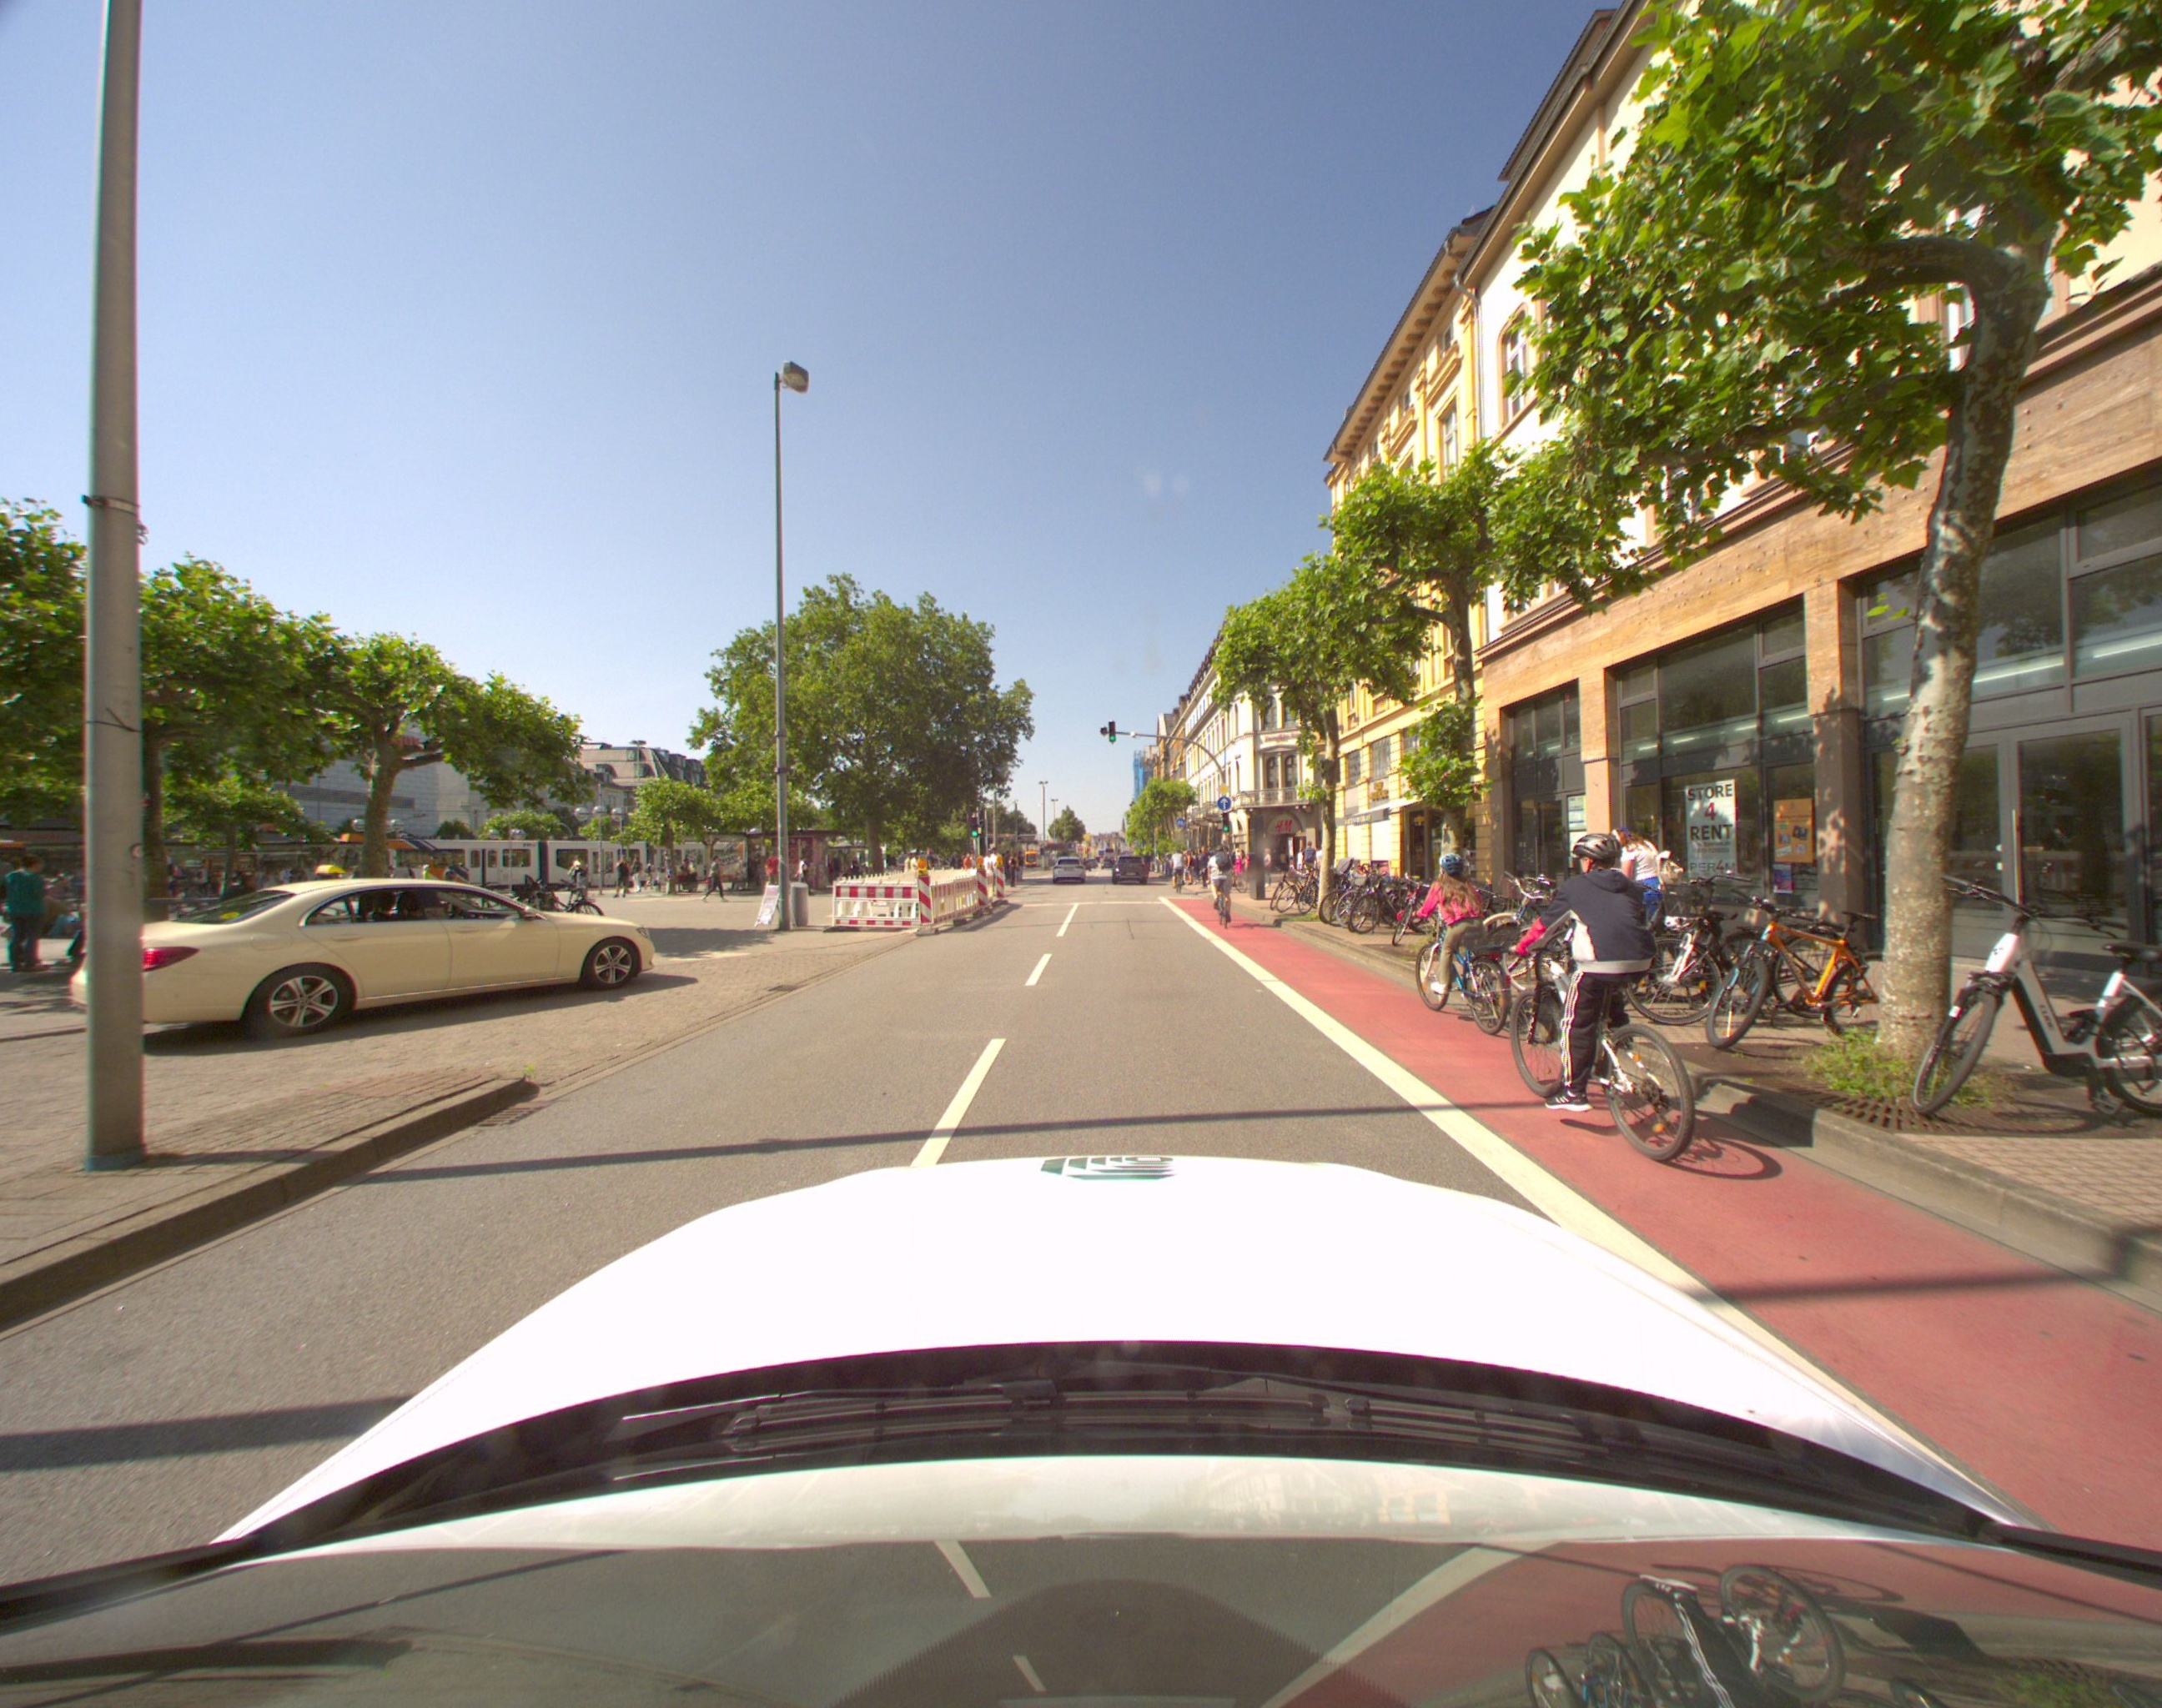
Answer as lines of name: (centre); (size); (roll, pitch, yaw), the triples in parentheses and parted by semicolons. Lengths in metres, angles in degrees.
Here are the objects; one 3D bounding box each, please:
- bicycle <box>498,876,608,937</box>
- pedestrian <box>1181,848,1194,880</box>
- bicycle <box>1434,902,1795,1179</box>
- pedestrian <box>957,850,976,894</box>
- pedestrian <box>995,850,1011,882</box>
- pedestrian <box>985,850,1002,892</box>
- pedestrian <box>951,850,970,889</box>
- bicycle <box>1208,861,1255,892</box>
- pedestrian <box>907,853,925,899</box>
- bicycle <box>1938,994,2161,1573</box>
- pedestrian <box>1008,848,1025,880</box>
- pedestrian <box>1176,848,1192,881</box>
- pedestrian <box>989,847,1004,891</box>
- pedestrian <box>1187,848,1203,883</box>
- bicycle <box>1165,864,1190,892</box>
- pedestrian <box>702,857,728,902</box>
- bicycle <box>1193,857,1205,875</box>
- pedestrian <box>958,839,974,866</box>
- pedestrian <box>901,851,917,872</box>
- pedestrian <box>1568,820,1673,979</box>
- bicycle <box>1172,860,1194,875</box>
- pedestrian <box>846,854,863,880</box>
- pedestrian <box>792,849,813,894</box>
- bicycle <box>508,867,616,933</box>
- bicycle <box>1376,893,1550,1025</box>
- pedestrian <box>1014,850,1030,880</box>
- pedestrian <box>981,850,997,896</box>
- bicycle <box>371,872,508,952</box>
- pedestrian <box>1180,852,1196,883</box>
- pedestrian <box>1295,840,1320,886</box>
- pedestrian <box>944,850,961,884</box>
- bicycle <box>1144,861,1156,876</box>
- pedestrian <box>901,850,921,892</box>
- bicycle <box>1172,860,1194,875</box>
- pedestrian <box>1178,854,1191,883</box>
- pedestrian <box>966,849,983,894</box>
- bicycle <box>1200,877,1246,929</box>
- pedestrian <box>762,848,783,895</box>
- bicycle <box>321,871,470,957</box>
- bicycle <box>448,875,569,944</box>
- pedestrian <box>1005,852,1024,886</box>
bicycle: (-10.745, 1.052, 16.621); (1.777, 1.185, 0.662); (-1, 0, -2)
pedestrian: (6.165, 0.566, 47.141); (0.608, 1.824, 0.677); (-1, -1, 0)
bicycle: (2.869, 0.905, 4.724); (0.696, 1.127, 2.080); (0, 0, -2)
pedestrian: (-4.476, 0.707, 31.929); (0.543, 1.718, 0.600); (1, -1, -30)
pedestrian: (-4.583, 0.704, 47.790); (0.626, 1.859, 0.735); (-1, -1, 31)
pedestrian: (-3.738, 0.730, 34.799); (0.573, 1.758, 0.639); (-1, -1, 3)
pedestrian: (-5.799, 0.746, 39.187); (0.627, 1.859, 0.690); (-1, -1, 22)
bicycle: (5.677, 0.849, 30.823); (0.604, 1.082, 1.820); (-3, 0, -33)
pedestrian: (-6.780, 0.897, 33.466); (0.573, 1.891, 0.654); (0, -1, 3)
bicycle: (2.608, 0.928, 1.095); (0.696, 1.127, 2.080); (0, 0, -2)
pedestrian: (-3.637, 0.558, 45.965); (0.627, 1.794, 0.735); (-1, -1, 22)
pedestrian: (5.623, 0.598, 44.600); (0.608, 1.739, 0.677); (-5, -1, 0)
pedestrian: (-3.693, 0.645, 35.443); (0.529, 1.919, 0.560); (-1, -1, 3)
pedestrian: (6.027, 0.597, 43.007); (0.608, 1.759, 0.677); (-5, -1, 0)
bicycle: (3.868, 0.947, 32.806); (0.771, 1.006, 2.330); (-1, 0, 2)
pedestrian: (-12.821, 0.891, 28.533); (0.573, 1.532, 0.607); (0, -1, 7)
bicycle: (7.796, 0.795, 53.926); (0.396, 1.114, 1.433); (-2, 1, 22)
pedestrian: (-7.417, -0.085, 52.687); (0.671, 1.764, 0.771); (-1, -1, 31)
pedestrian: (-9.878, 0.434, 46.764); (0.627, 1.144, 0.669); (-1, -1, 22)
pedestrian: (5.713, 0.462, 8.662); (0.612, 1.612, 0.745); (-1, 0, 2)
bicycle: (6.998, 0.904, 55.941); (1.415, 0.980, 0.445); (-2, 0, 2)
pedestrian: (-13.078, 0.749, 46.969); (0.627, 1.478, 0.735); (-1, -1, 22)
pedestrian: (-10.972, 0.675, 32.112); (0.573, 1.739, 0.607); (0, -1, 7)
bicycle: (-11.025, 0.973, 17.351); (1.777, 1.348, 0.740); (1, 0, -2)
bicycle: (3.408, 0.881, 7.505); (0.598, 0.926, 2.087); (-1, 0, -1)
pedestrian: (-3.618, 0.676, 49.777); (0.626, 1.834, 0.735); (-1, -1, 31)
pedestrian: (-3.557, 0.733, 31.446); (0.431, 1.740, 0.600); (1, -1, -29)
bicycle: (-10.954, 0.973, 13.940); (1.777, 1.309, 0.662); (-1, 0, -2)
pedestrian: (5.473, 0.679, 41.563); (0.608, 1.515, 0.677); (-5, -1, 0)
pedestrian: (9.059, 0.376, 32.585); (0.655, 1.790, 1.233); (-1, -2, 1)
pedestrian: (-7.073, 0.712, 44.903); (0.627, 1.810, 0.735); (-1, -1, 22)
bicycle: (4.658, 0.989, 55.051); (0.645, 0.998, 2.031); (-1, 0, 1)
pedestrian: (-7.224, 0.697, 34.579); (0.581, 1.721, 0.790); (-1, 2, 3)
bicycle: (6.815, 0.903, 54.535); (1.415, 0.980, 0.445); (-2, 0, 2)
pedestrian: (6.220, 0.852, 48.736); (0.581, 1.673, 0.605); (-4, -1, 0)
pedestrian: (-4.257, 0.703, 32.642); (0.536, 1.779, 0.607); (0, -1, 7)
bicycle: (2.991, 1.010, 17.346); (0.628, 0.980, 2.089); (-1, 0, 1)
pedestrian: (-12.539, 0.696, 33.127); (0.666, 1.879, 0.625); (1, -1, -33)
bicycle: (-10.915, 0.938, 13.006); (1.777, 1.309, 0.662); (-1, 0, -2)
bicycle: (-10.751, 1.031, 15.325); (1.777, 1.215, 0.662); (-1, 0, -2)
pedestrian: (-3.188, 0.717, 39.122); (0.627, 1.595, 0.690); (-1, -1, 22)
